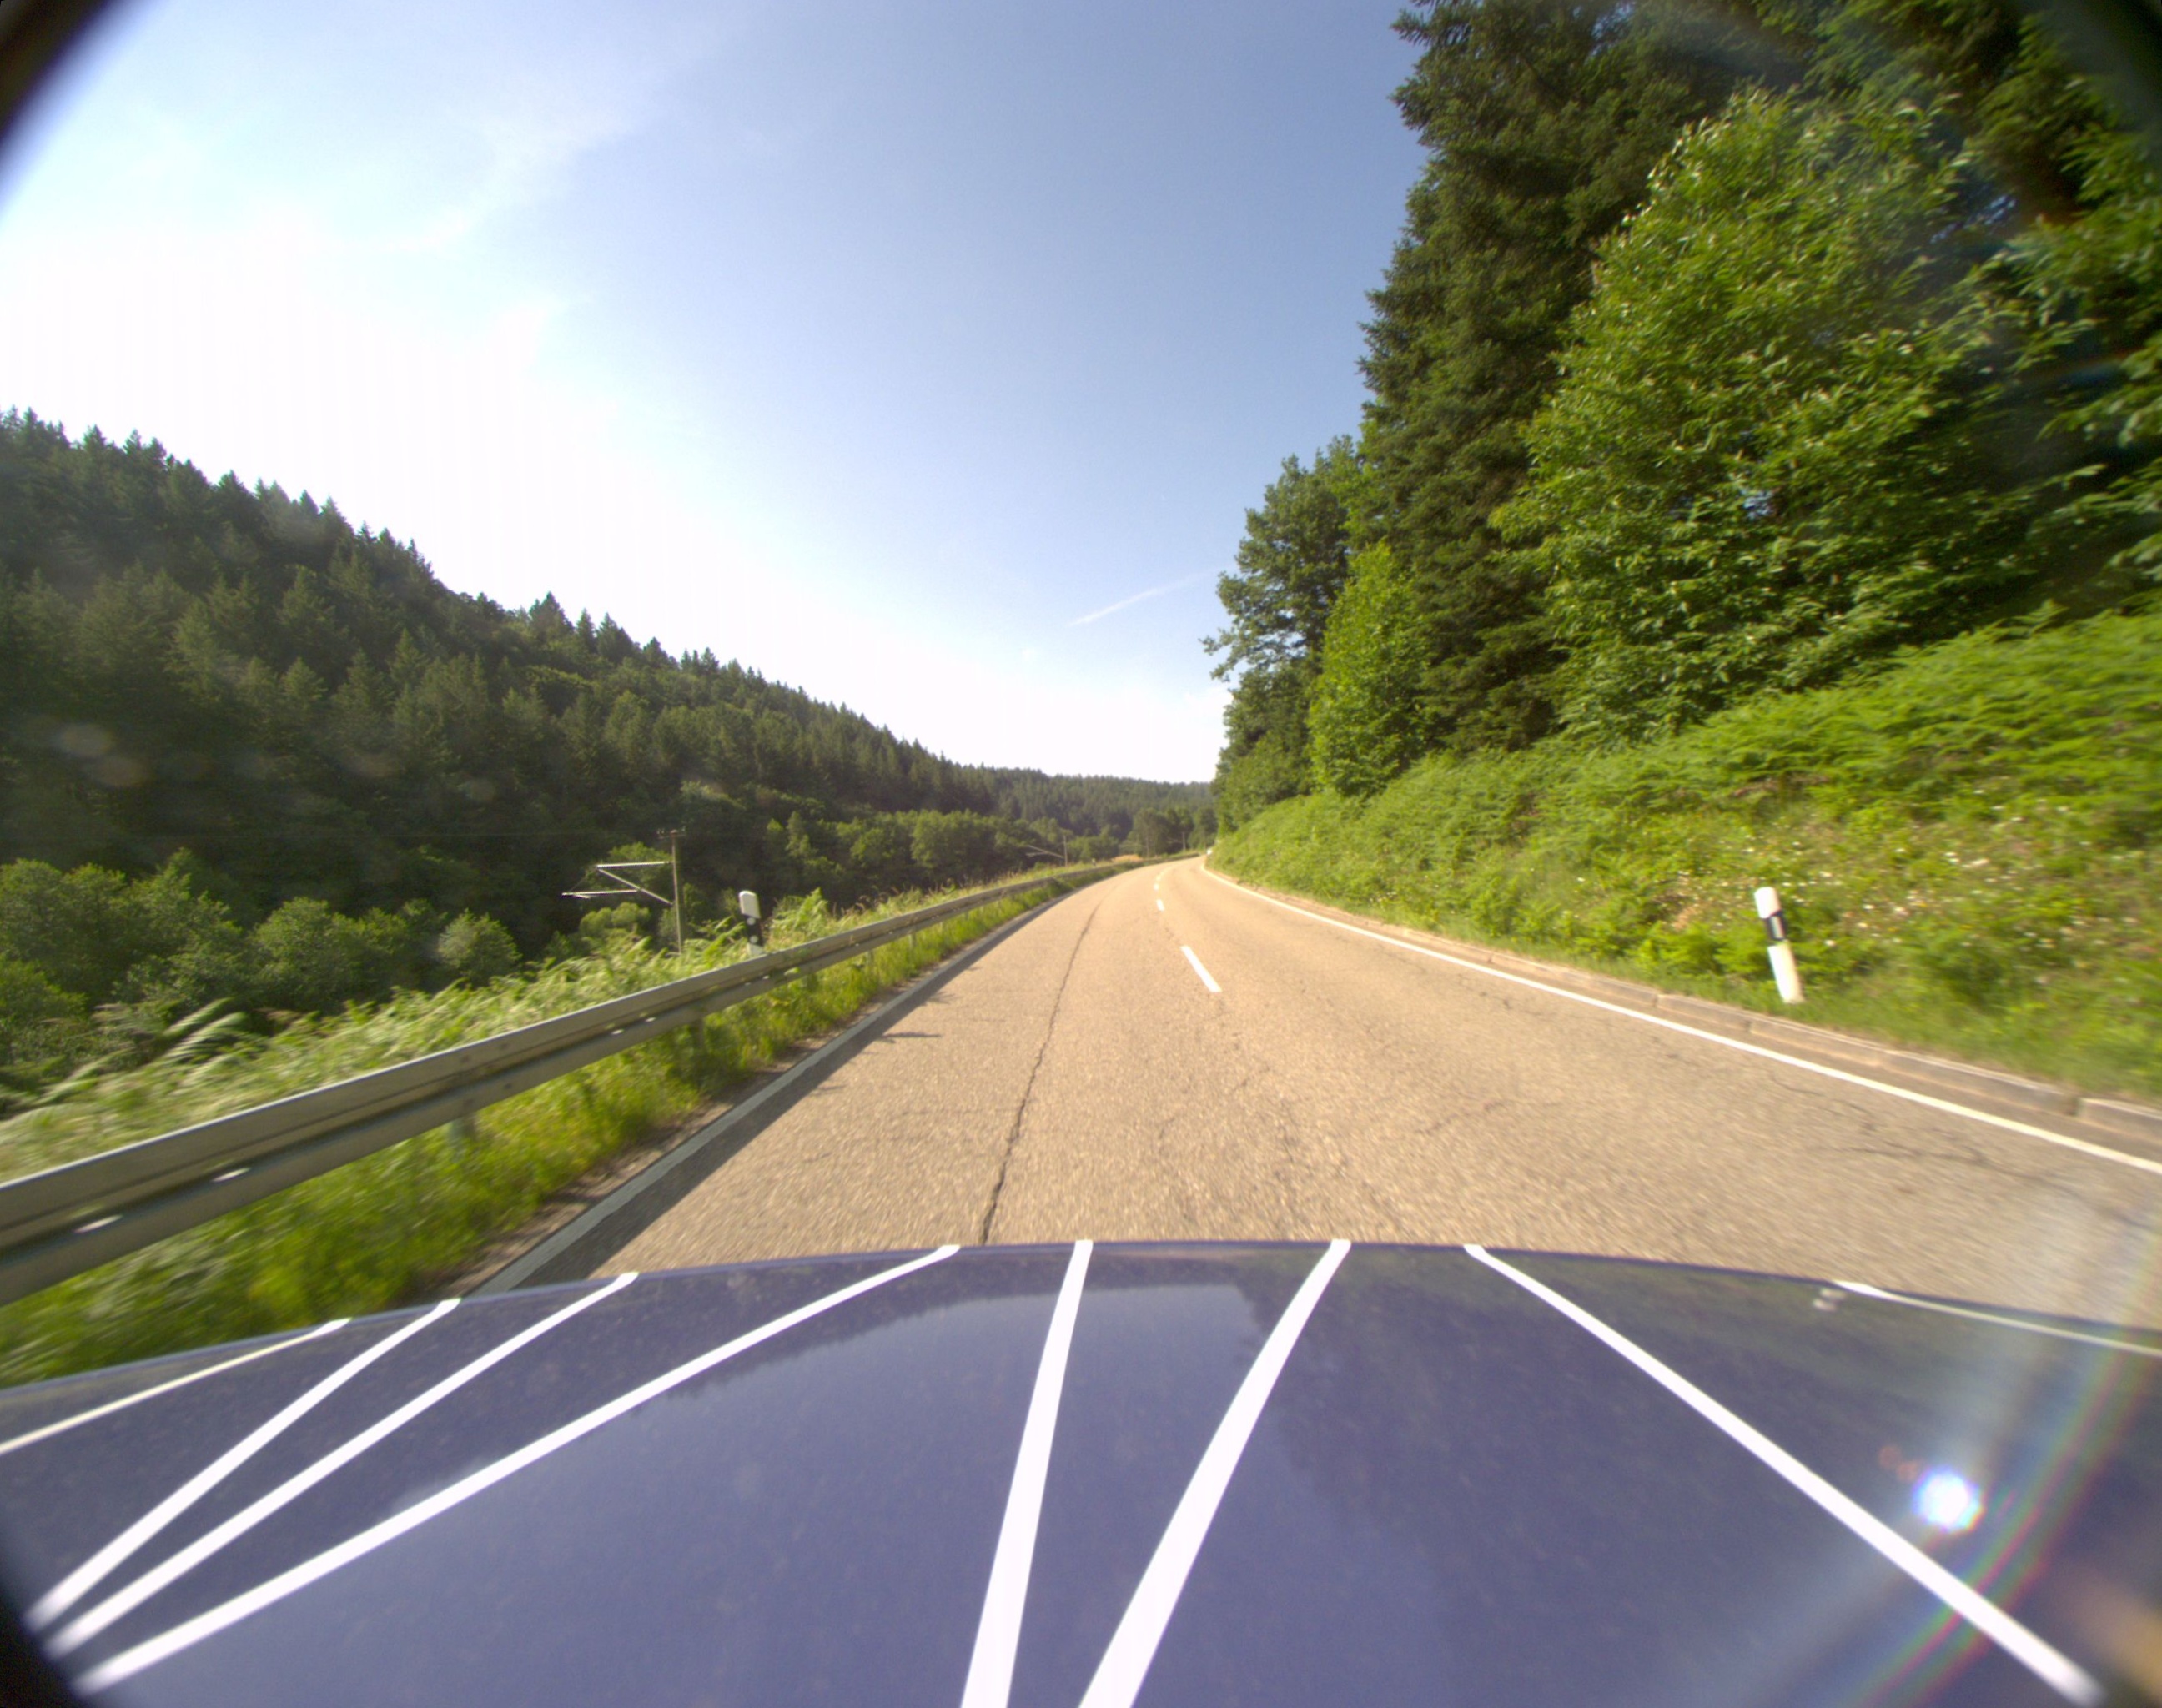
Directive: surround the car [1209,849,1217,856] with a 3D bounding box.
[{"bbox_3d":[32.455,-0.367,186.888,1.702,1.543,3.789,-4,1,7],"label":"car"}]
